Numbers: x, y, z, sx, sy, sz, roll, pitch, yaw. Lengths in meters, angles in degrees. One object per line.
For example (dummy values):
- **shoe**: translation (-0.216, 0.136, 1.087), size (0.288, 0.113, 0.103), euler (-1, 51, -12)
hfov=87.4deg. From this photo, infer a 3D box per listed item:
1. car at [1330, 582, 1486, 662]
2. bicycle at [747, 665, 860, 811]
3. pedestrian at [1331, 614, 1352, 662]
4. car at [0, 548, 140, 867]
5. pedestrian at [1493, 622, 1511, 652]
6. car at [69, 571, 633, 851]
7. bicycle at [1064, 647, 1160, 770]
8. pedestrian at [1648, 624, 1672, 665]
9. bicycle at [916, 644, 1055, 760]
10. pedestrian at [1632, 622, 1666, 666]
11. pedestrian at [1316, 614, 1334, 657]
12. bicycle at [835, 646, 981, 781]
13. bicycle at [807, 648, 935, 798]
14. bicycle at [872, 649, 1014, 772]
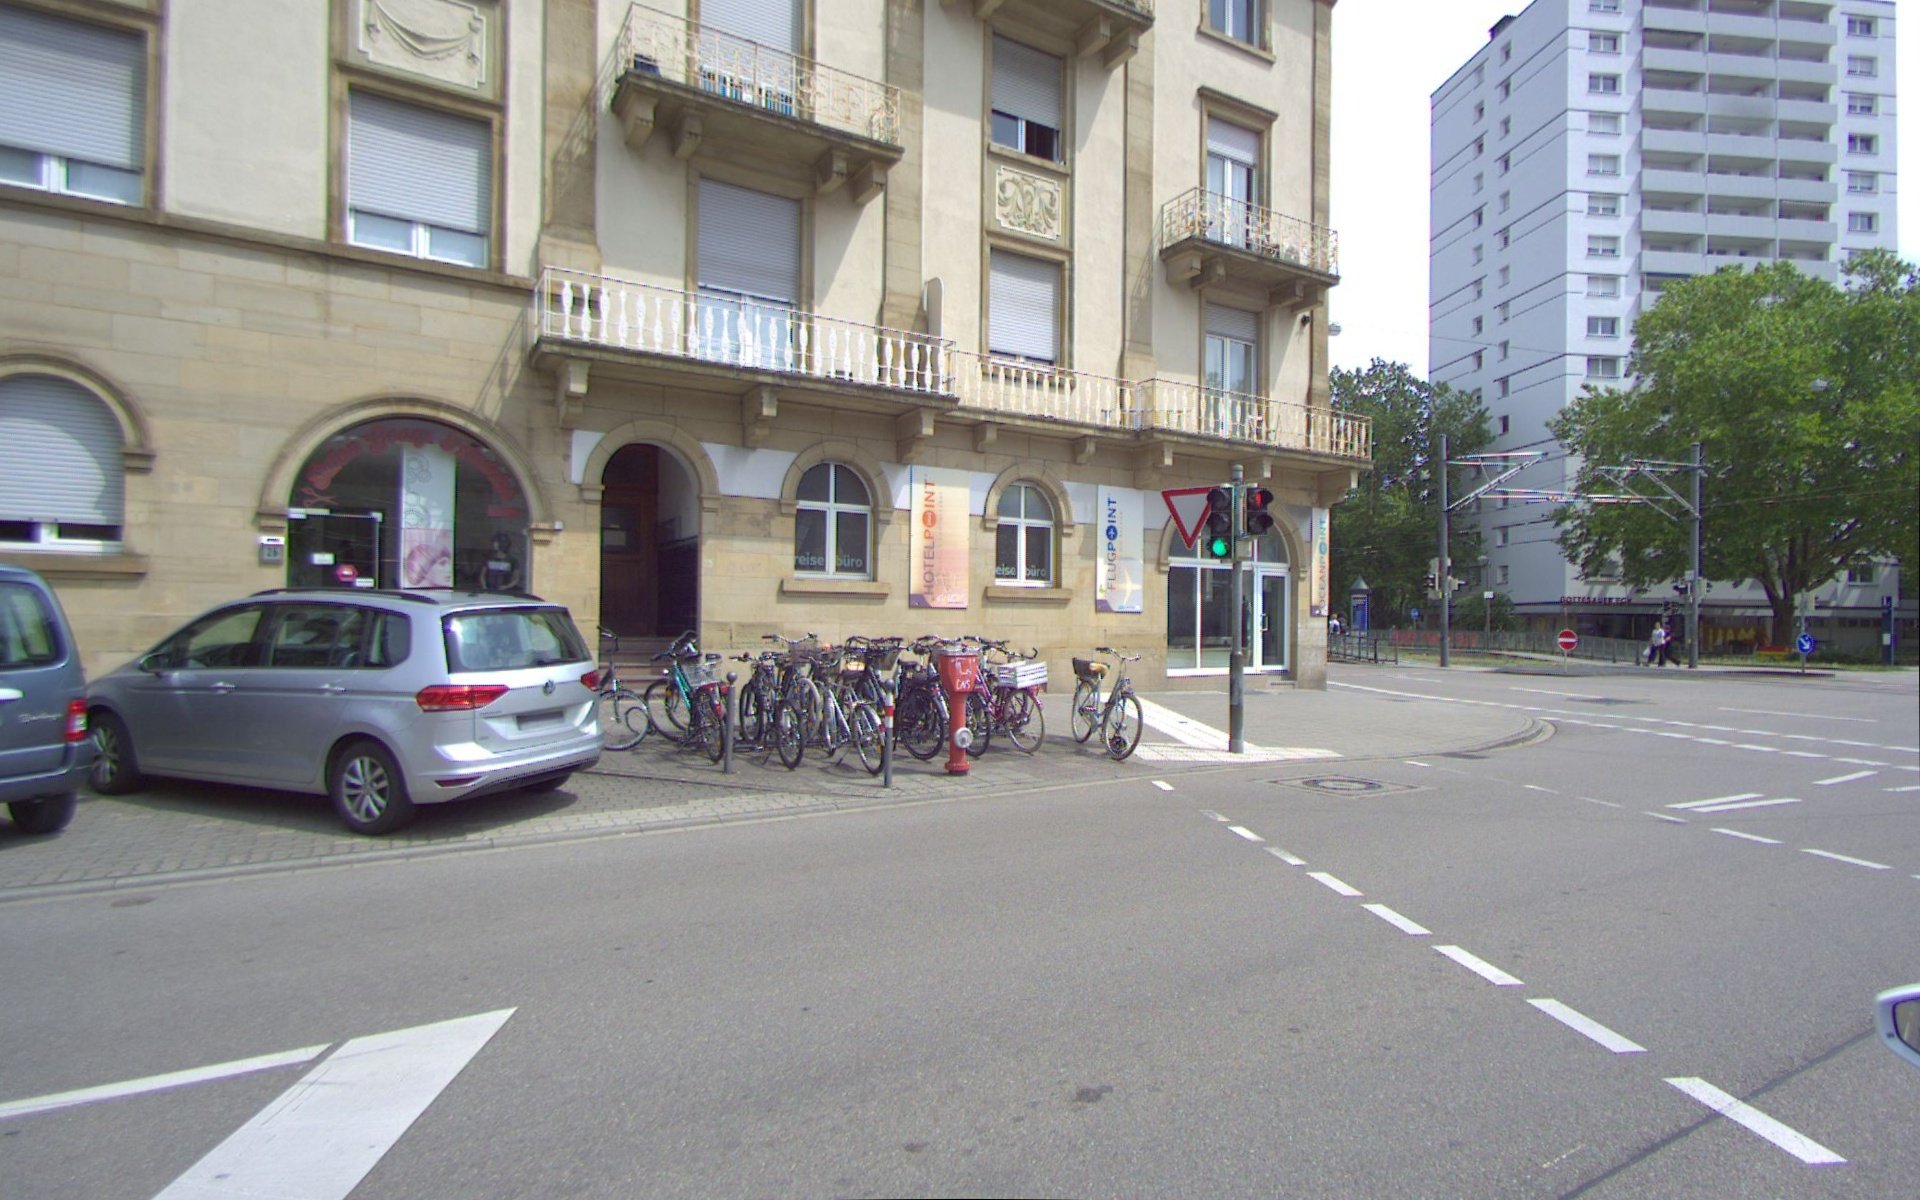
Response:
- **car**: translation (24.121, 1.214, 54.948), size (3.390, 3.967, 9.910), euler (0, -1, -6)
- **bicycle**: translation (-1.483, 1.198, 9.253), size (0.586, 1.135, 1.805), euler (1, -2, -24)
- **pedestrian**: translation (16.924, 1.679, 44.564), size (0.643, 2.114, 0.590), euler (0, -1, -13)
- **car**: translation (-7.631, 0.647, 6.548), size (3.934, 1.903, 1.796), euler (0, -1, 21)
- **pedestrian**: translation (34.722, 2.358, 64.326), size (0.726, 1.909, 0.764), euler (0, -1, -4)
- **car**: translation (-4.810, 0.742, 8.005), size (3.934, 1.797, 1.796), euler (0, -1, 21)
- **bicycle**: translation (1.678, 1.173, 11.363), size (0.489, 1.182, 1.878), euler (2, 0, -9)
- **pedestrian**: translation (26.427, 1.670, 37.914), size (0.712, 1.534, 0.929), euler (-1, -1, 36)
- **bicycle**: translation (0.259, 1.125, 11.623), size (0.589, 1.135, 1.795), euler (1, 0, -38)
- **pedestrian**: translation (25.349, 1.626, 36.961), size (0.709, 1.593, 0.809), euler (0, -1, -2)
- **pedestrian**: translation (16.149, 1.584, 44.423), size (0.565, 1.894, 0.547), euler (0, -1, -13)
- **bicycle**: translation (-0.581, 1.125, 10.484), size (0.589, 1.182, 1.795), euler (1, 0, -38)
- **bicycle**: translation (-0.891, 1.104, 9.558), size (0.586, 1.135, 1.803), euler (1, 2, -26)
- **bicycle**: translation (-0.228, 1.161, 11.083), size (0.589, 1.135, 1.795), euler (1, 0, -38)
